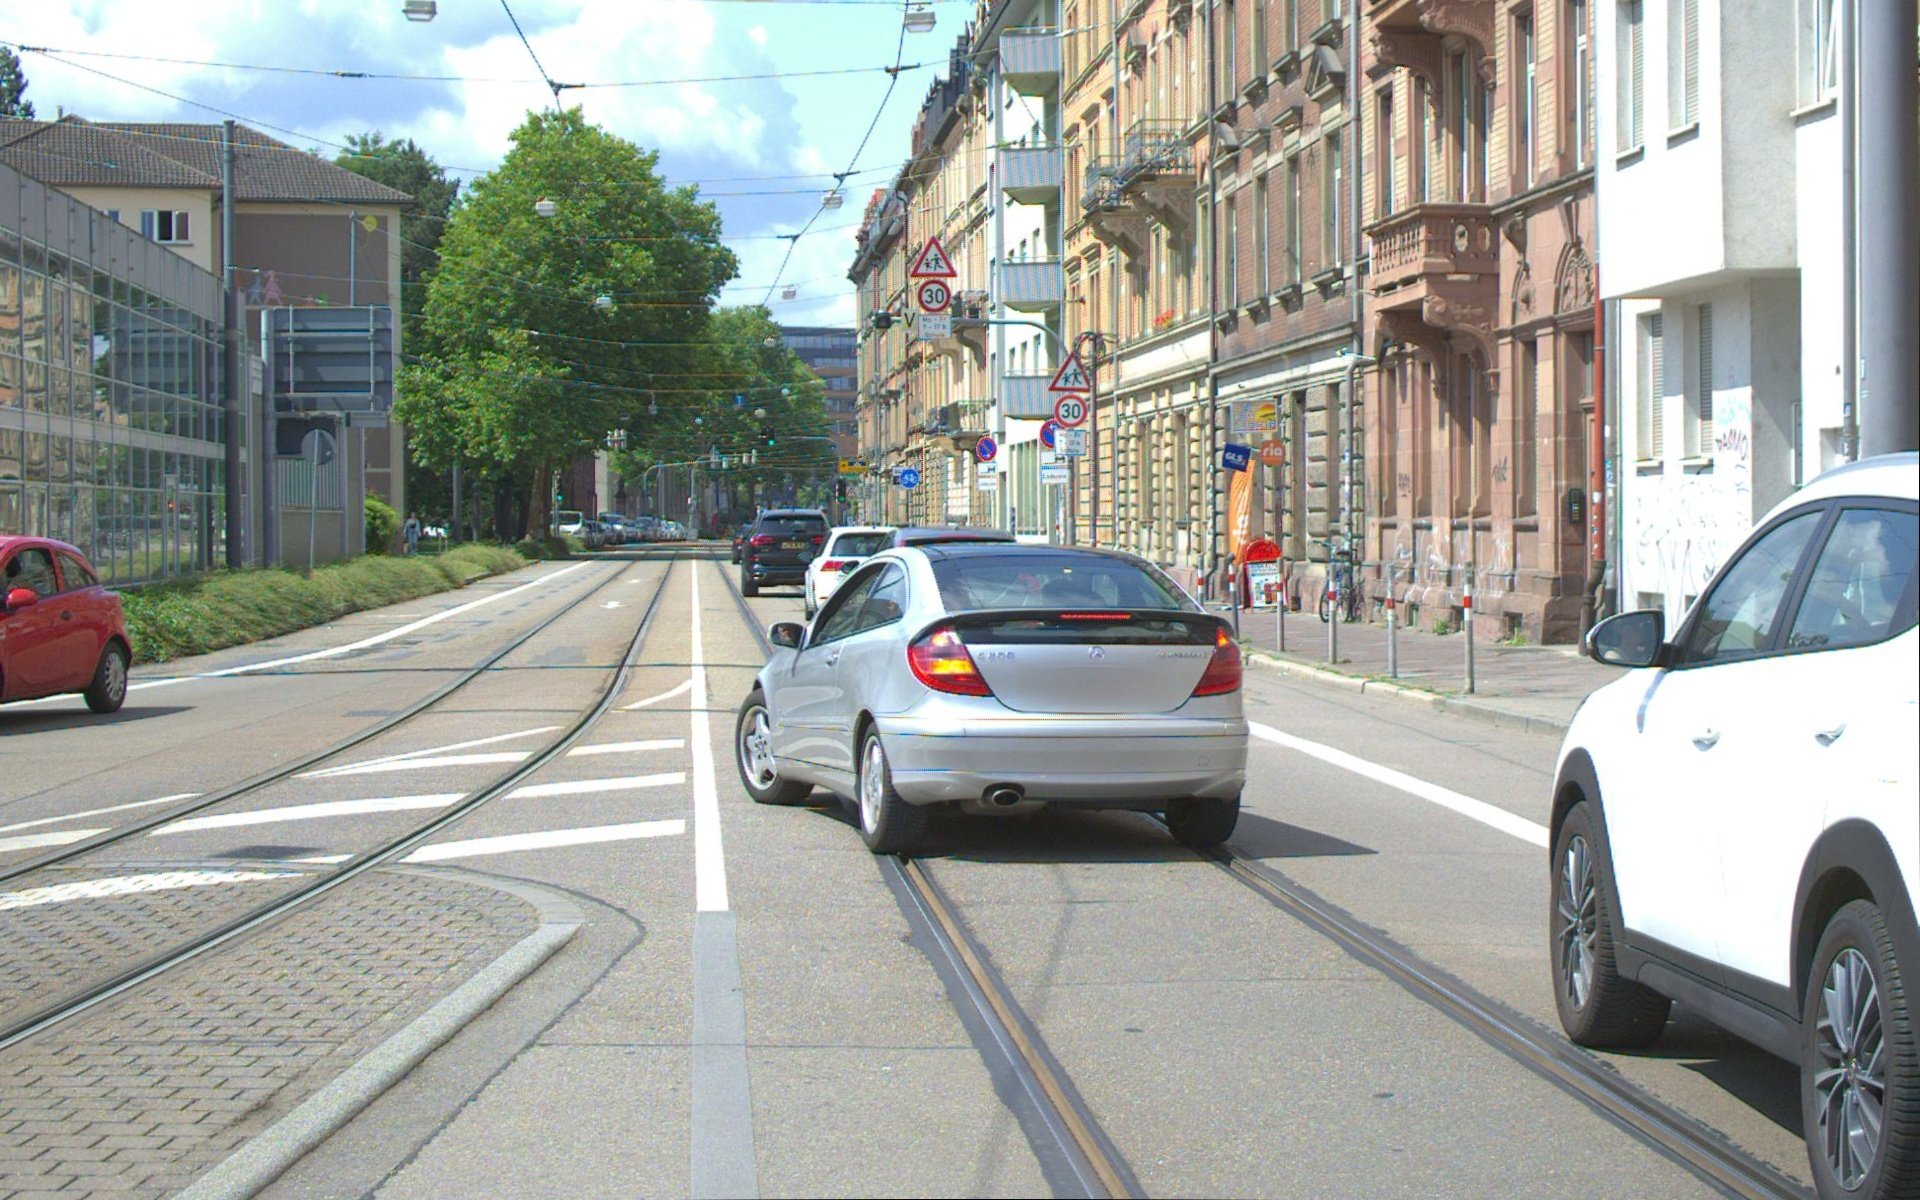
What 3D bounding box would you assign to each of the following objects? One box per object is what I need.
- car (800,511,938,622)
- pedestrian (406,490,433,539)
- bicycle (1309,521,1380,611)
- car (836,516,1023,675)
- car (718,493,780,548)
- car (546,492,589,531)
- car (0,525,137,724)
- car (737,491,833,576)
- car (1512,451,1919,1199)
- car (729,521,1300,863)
[{"bbox_3d":[-1.382,-0.524,50.742,1.814,1.519,3.956,-1,2,-4],"label":"car"},{"bbox_3d":[-20.734,-3.281,131.927,0.880,1.859,1.081,-2,2,-4],"label":"pedestrian"},{"bbox_3d":[5.222,-0.479,46.795,0.586,1.174,2.205,-1,2,-3],"label":"bicycle"},{"bbox_3d":[-0.351,-0.092,35.668,1.814,1.519,4.086,-1,2,-1],"label":"car"},{"bbox_3d":[-7.327,-2.770,119.156,1.993,1.853,4.001,-1,2,-6],"label":"car"},{"bbox_3d":[-19.383,-4.387,170.006,1.950,1.888,4.566,0,2,-4],"label":"car"},{"bbox_3d":[-7.825,0.191,26.177,1.702,1.423,3.901,-1,2,8],"label":"car"},{"bbox_3d":[-3.580,-1.377,69.833,1.814,1.656,4.086,-1,2,-4],"label":"car"},{"bbox_3d":[2.656,0.517,8.272,1.852,1.628,4.181,0,1,-2],"label":"car"},{"bbox_3d":[0.117,0.341,16.876,1.814,1.415,4.189,-1,2,-13],"label":"car"}]
